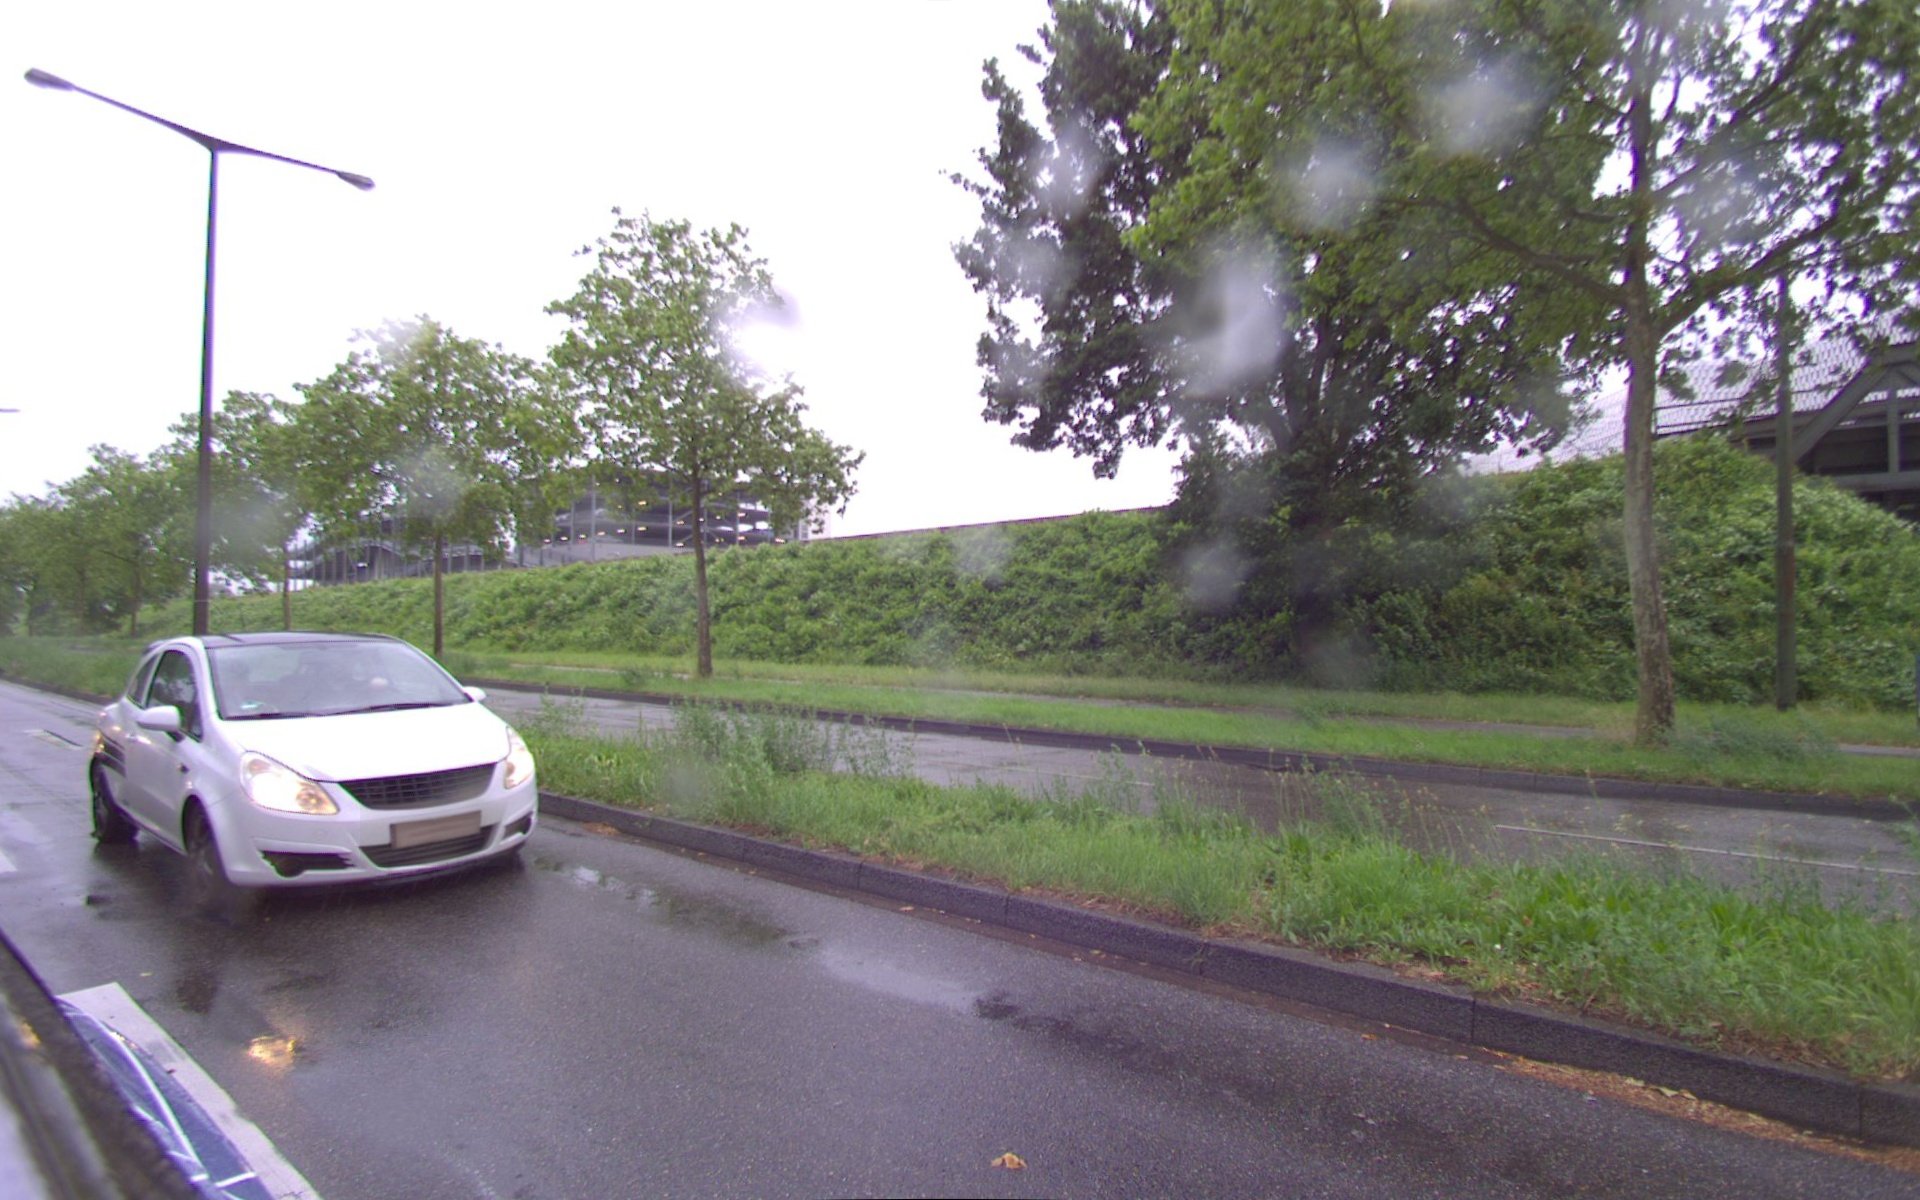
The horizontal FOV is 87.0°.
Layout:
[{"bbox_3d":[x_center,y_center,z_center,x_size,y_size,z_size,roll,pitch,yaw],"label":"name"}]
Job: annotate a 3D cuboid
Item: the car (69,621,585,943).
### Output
[{"bbox_3d":[-4.203,0.865,6.442,4.008,1.387,1.661,-2,-1,41],"label":"car"}]
